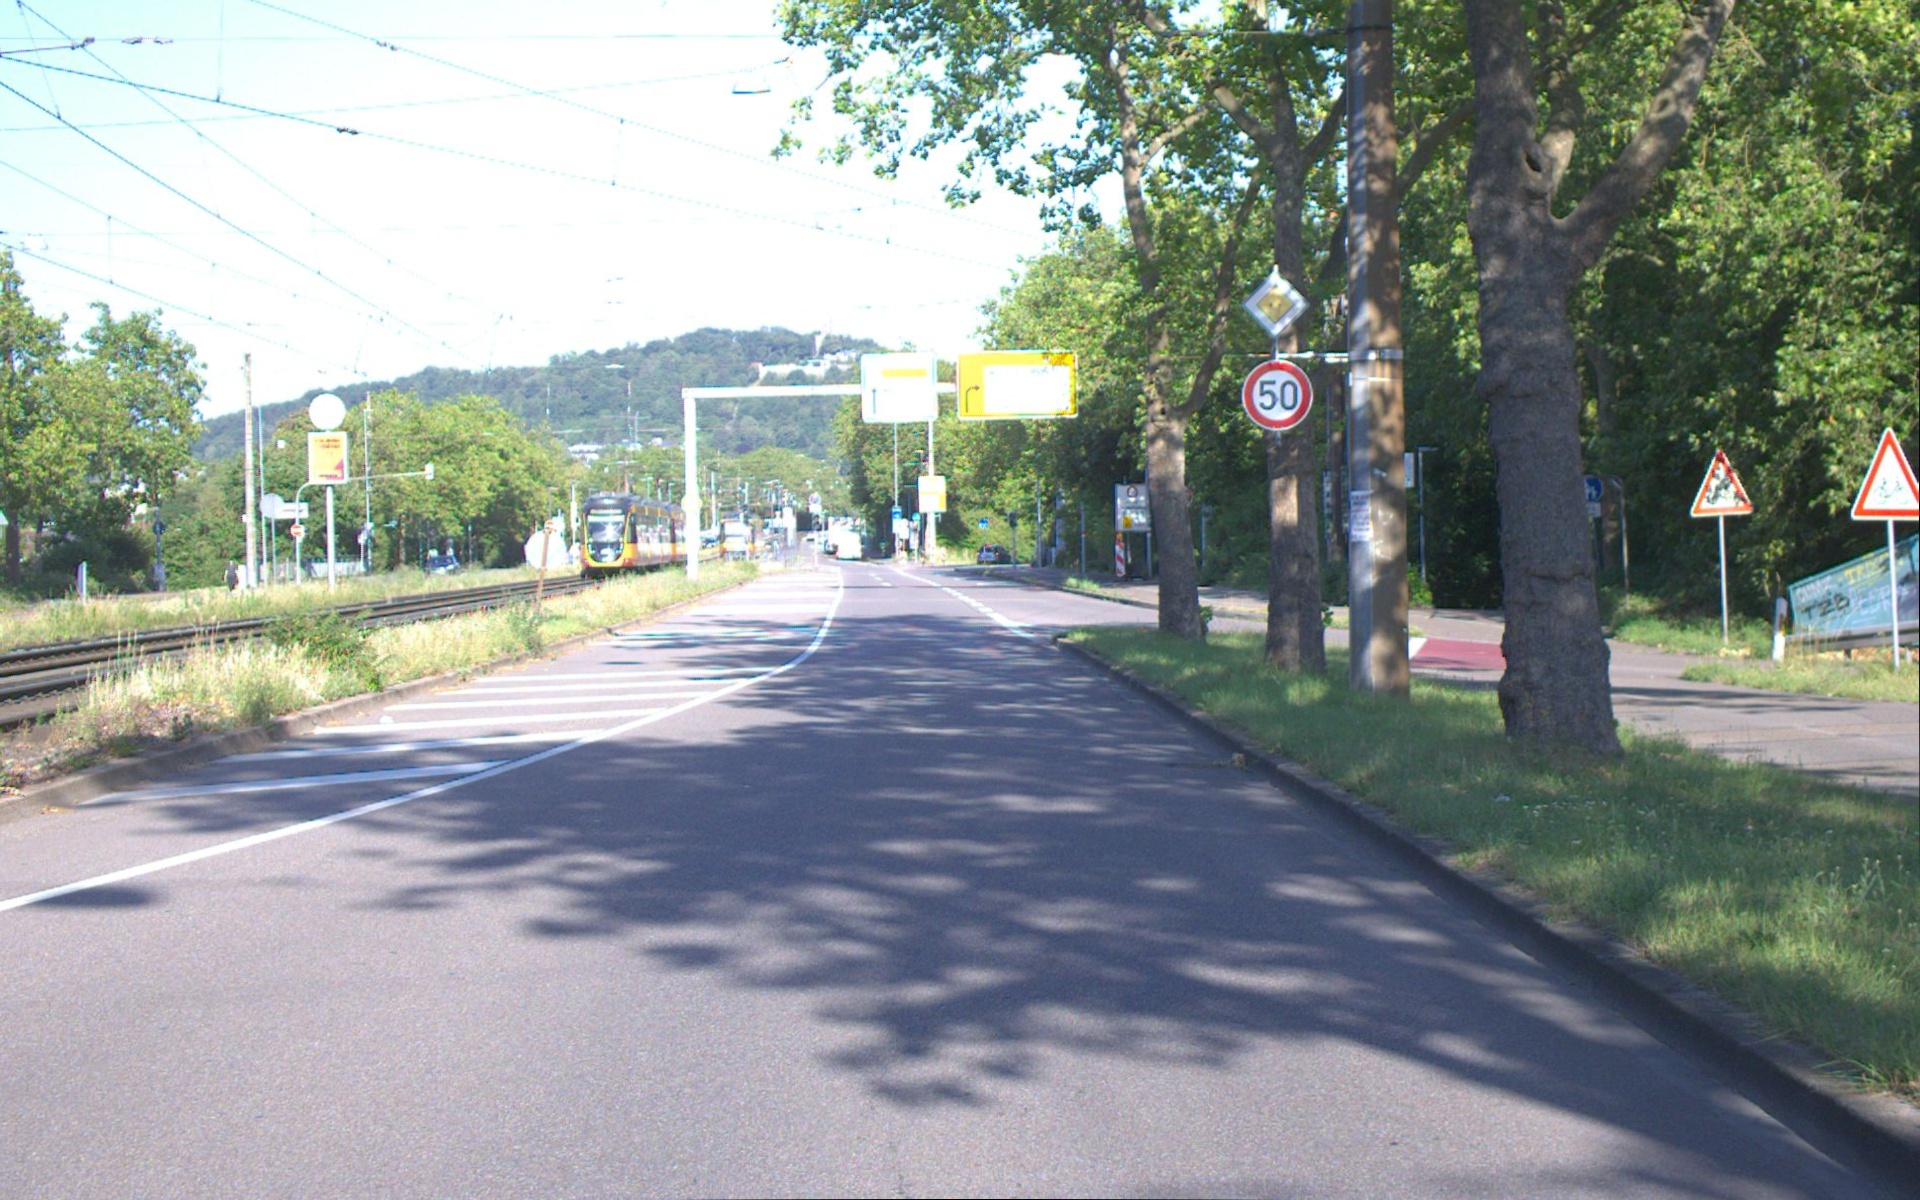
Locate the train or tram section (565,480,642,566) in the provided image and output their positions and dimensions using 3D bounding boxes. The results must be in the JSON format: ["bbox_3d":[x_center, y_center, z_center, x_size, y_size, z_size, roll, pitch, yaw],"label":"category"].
[{"bbox_3d":[-16.675,-3.582,161.463,2.804,3.889,12.334,0,1,-2],"label":"train or tram section"}]

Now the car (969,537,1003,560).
[{"bbox_3d":[1.813,-3.590,239.817,2.086,1.560,3.955,0,1,4],"label":"car"}]

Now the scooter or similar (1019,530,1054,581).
[{"bbox_3d":[4.132,-2.403,185.767,1.681,2.706,4.869,0,1,-1],"label":"scooter or similar"}]
